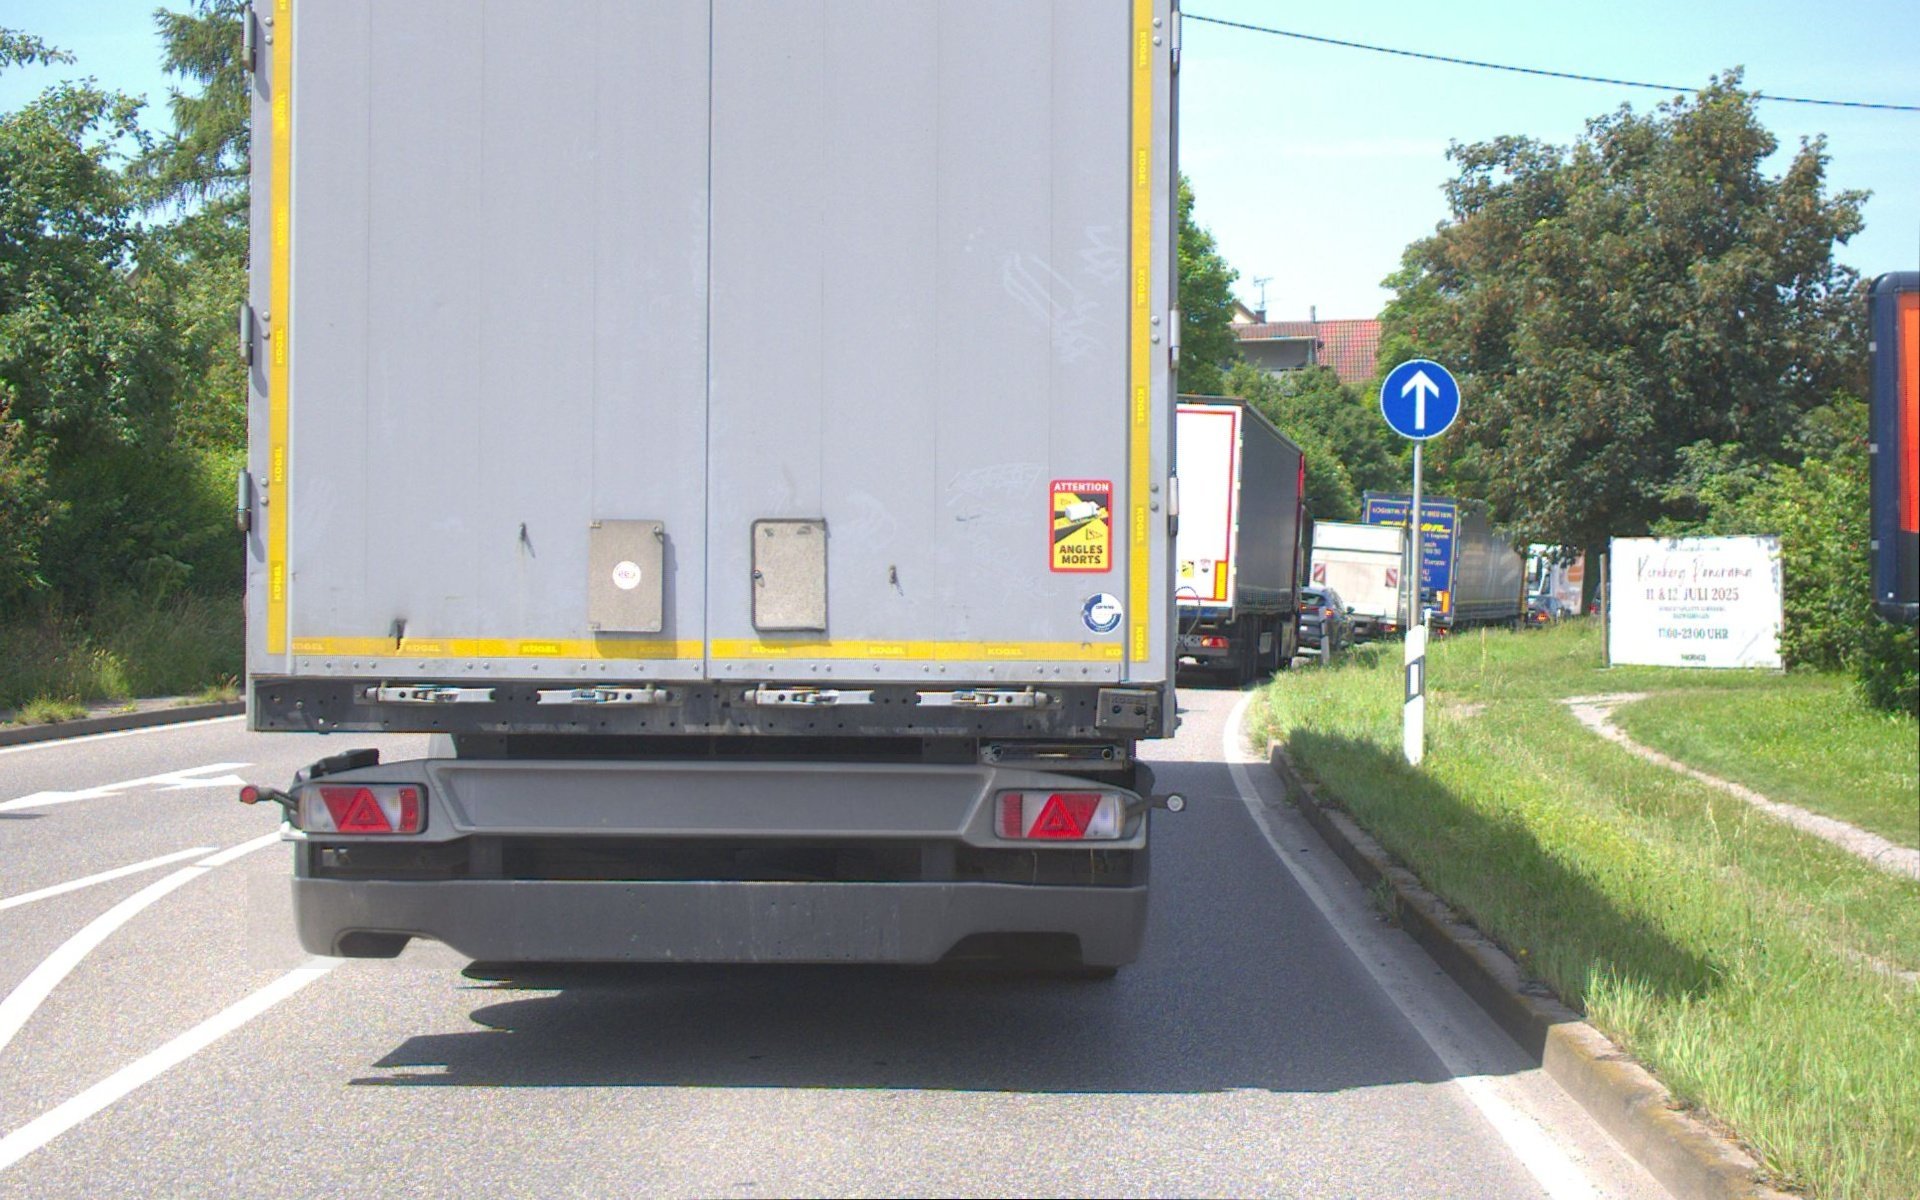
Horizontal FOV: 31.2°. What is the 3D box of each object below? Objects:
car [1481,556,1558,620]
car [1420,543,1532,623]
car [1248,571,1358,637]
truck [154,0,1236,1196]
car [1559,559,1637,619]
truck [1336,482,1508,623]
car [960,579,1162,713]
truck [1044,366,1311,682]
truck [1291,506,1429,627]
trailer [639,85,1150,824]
[{"bbox_3d":[18.042,-0.380,110.750,1.995,2.007,3.997,1,0,15],"label":"car"},{"bbox_3d":[15.377,-0.533,102.110,2.533,2.269,6.376,1,1,15],"label":"car"},{"bbox_3d":[7.551,0.090,75.330,1.994,1.371,3.998,1,0,11],"label":"car"},{"bbox_3d":[-0.519,-0.617,14.779,2.822,4.113,11.443,1,1,2],"label":"truck"},{"bbox_3d":[22.088,-0.370,118.871,1.995,2.007,3.996,1,0,20],"label":"car"},{"bbox_3d":[12.641,-1.324,93.252,3.435,3.592,9.347,1,1,15],"label":"truck"},{"bbox_3d":[1.145,0.469,37.254,1.819,1.342,3.846,1,0,7],"label":"car"},{"bbox_3d":[3.791,-1.040,55.081,2.761,4.274,16.409,1,0,9],"label":"truck"},{"bbox_3d":[9.737,-0.790,83.261,2.545,2.793,6.028,1,0,14],"label":"truck"},{"bbox_3d":[-0.243,-0.873,22.400,2.825,4.097,6.544,0,1,2],"label":"trailer"}]
